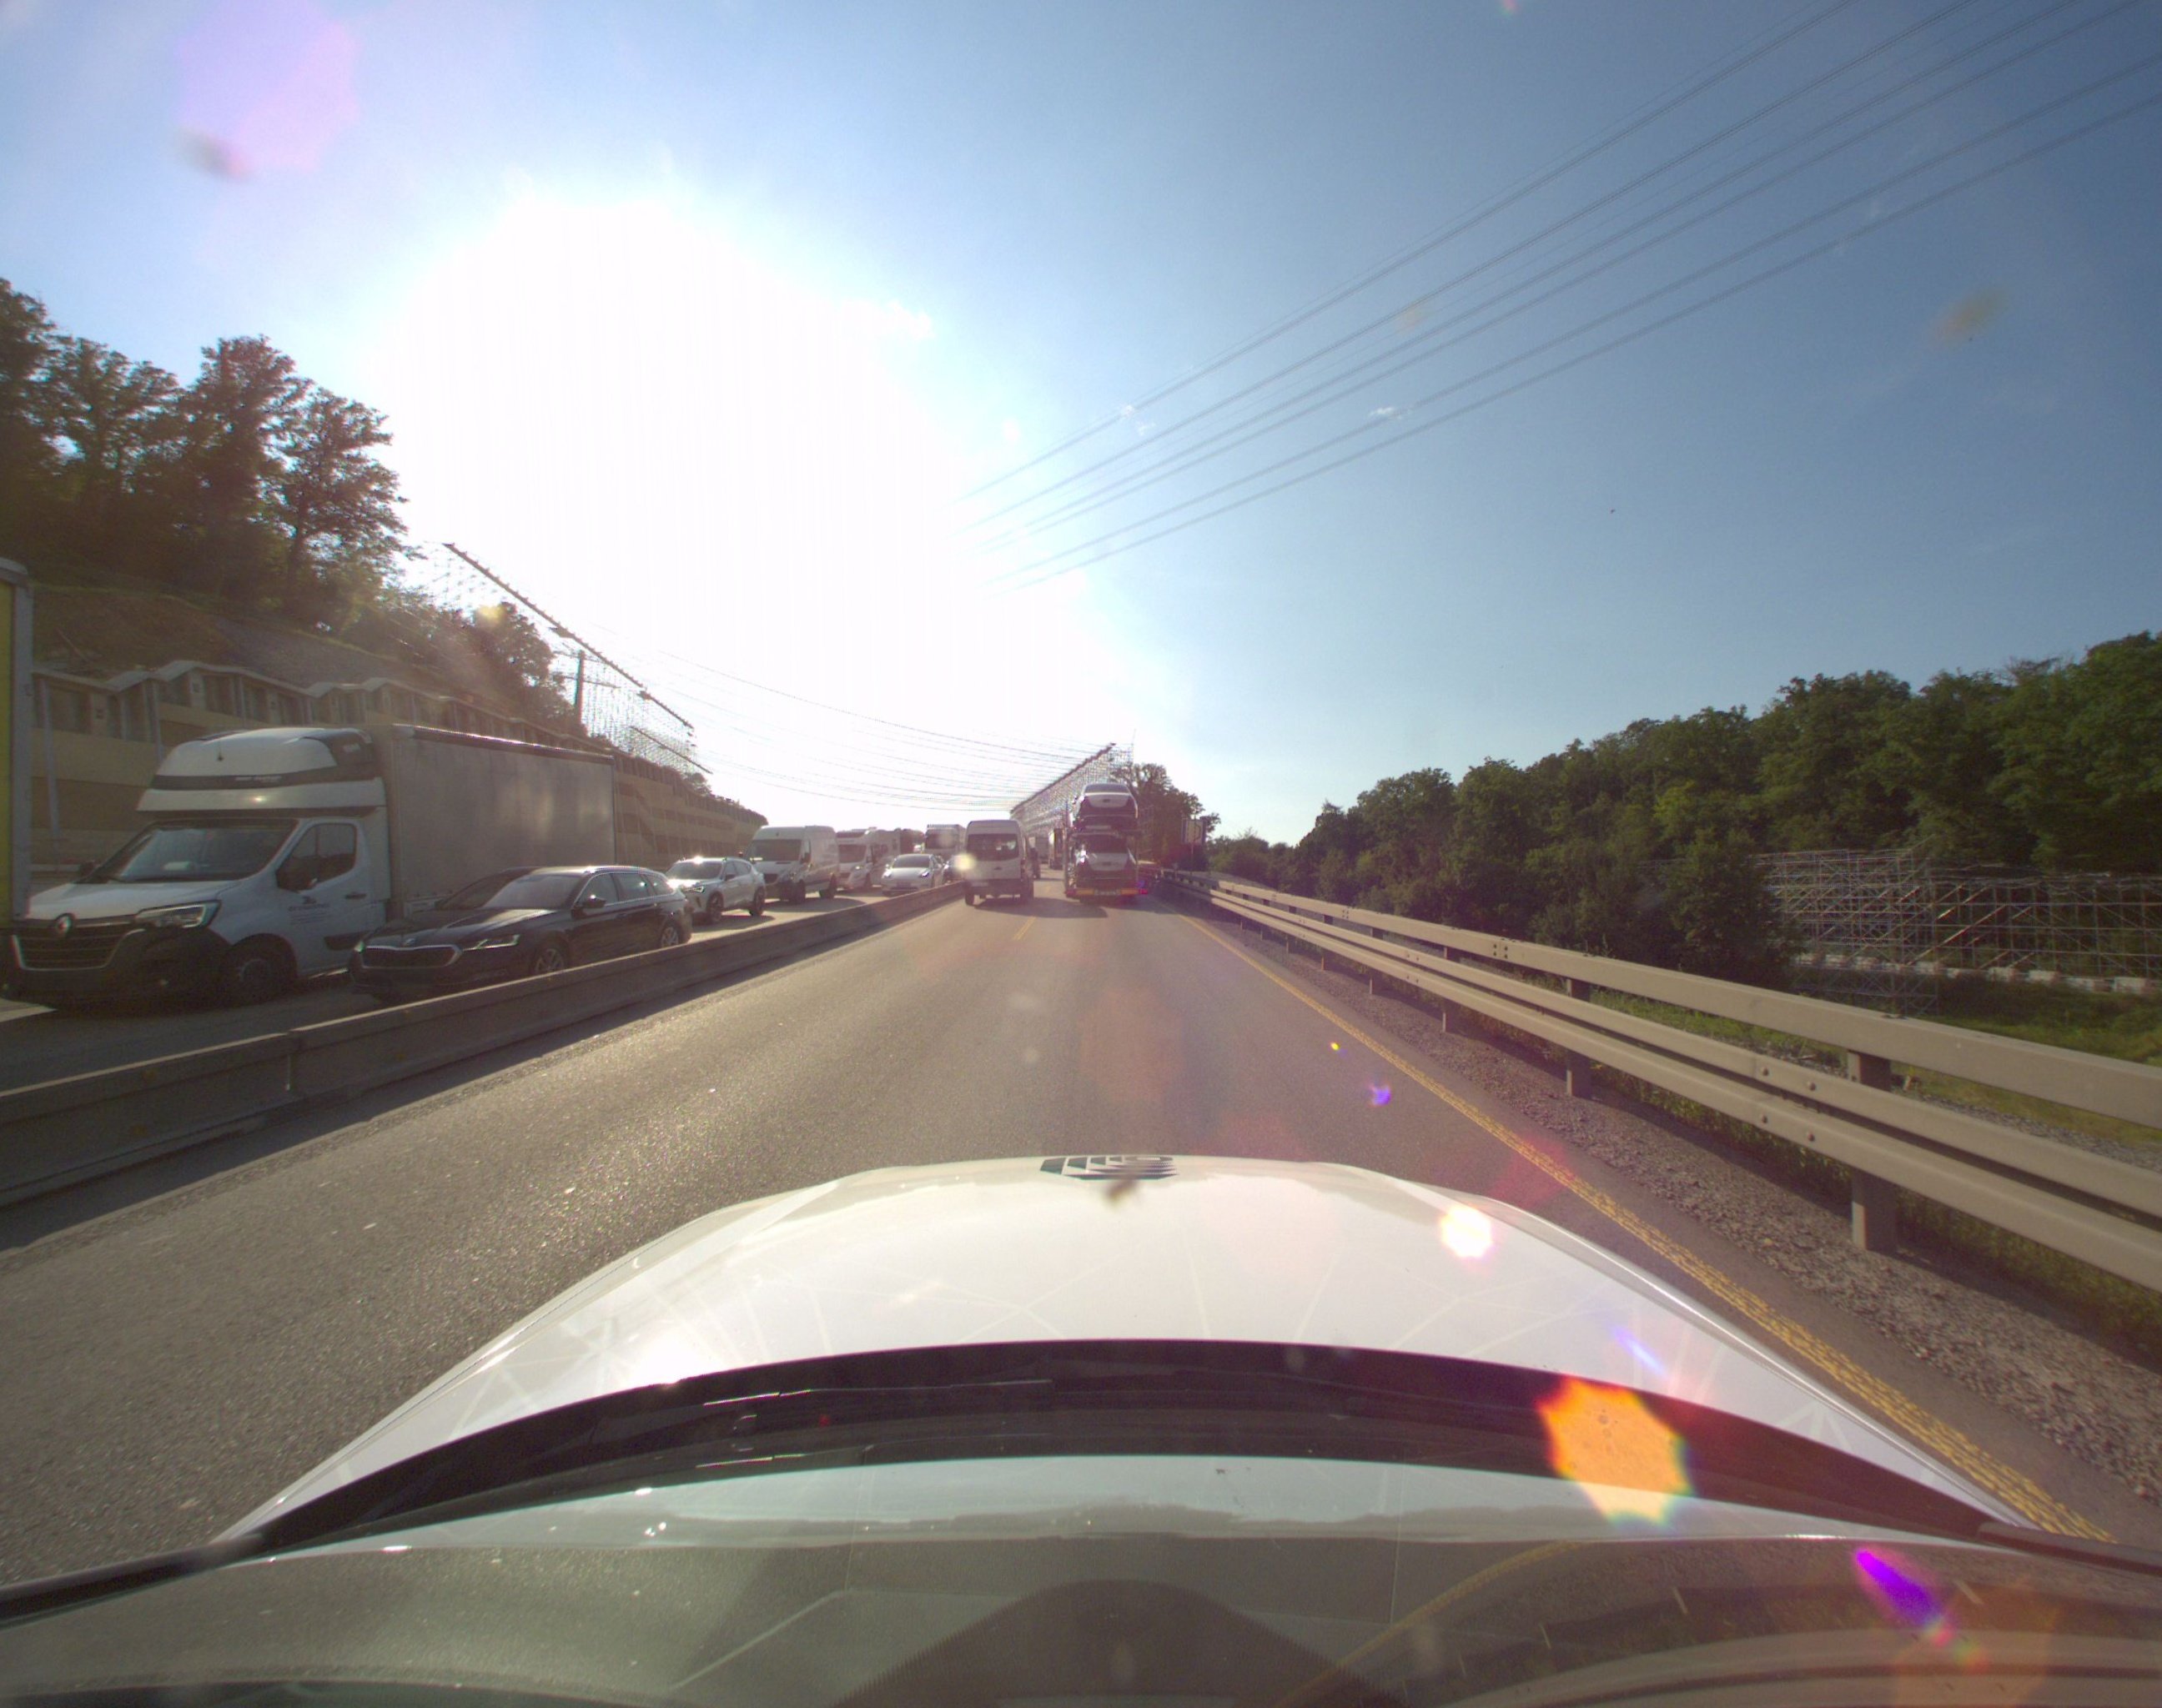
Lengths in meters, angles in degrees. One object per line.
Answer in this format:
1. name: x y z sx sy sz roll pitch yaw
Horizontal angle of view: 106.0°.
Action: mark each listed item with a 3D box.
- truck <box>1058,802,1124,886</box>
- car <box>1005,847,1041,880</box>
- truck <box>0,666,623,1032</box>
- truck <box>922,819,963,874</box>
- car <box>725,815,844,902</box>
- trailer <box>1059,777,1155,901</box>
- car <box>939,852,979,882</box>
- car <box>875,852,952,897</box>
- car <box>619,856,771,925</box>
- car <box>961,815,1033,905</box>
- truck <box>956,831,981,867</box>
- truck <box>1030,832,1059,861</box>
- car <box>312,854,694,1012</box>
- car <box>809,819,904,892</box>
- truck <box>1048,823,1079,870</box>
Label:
1. truck: 0.393 -0.428 39.577 2.873 3.702 7.321 -1 0 -1
2. car: -3.617 0.577 51.385 1.987 2.014 3.999 0 0 0
3. truck: -9.908 -0.050 11.550 2.439 3.462 7.616 -1 0 0
4. truck: -11.154 -0.568 65.850 2.708 4.218 5.673 -1 0 -5
5. car: -9.977 0.149 27.938 1.950 2.621 5.747 -1 0 0
6. trailer: 0.591 -0.433 32.071 2.861 3.725 14.937 -1 0 -2
7. car: -6.857 0.721 46.223 1.777 1.521 3.998 1 1 -2
8. car: -6.658 0.758 32.859 2.052 1.486 4.725 -3 1 0
9. car: -9.291 0.808 20.005 1.757 1.523 4.003 0 0 1
10. car: -2.632 0.190 26.288 1.951 2.621 3.997 -1 -1 -2
11. truck: -13.574 -0.588 98.519 2.742 4.300 5.920 -1 0 -6
12. truck: -5.884 -1.156 128.965 3.682 4.220 13.643 -3 1 -5
13. car: -6.644 0.775 10.079 1.649 1.523 4.286 0 0 0
14. car: -9.998 0.102 37.057 2.328 2.918 7.627 -1 0 -1
15. truck: -1.866 -0.756 82.576 2.726 4.385 11.509 0 0 -3
